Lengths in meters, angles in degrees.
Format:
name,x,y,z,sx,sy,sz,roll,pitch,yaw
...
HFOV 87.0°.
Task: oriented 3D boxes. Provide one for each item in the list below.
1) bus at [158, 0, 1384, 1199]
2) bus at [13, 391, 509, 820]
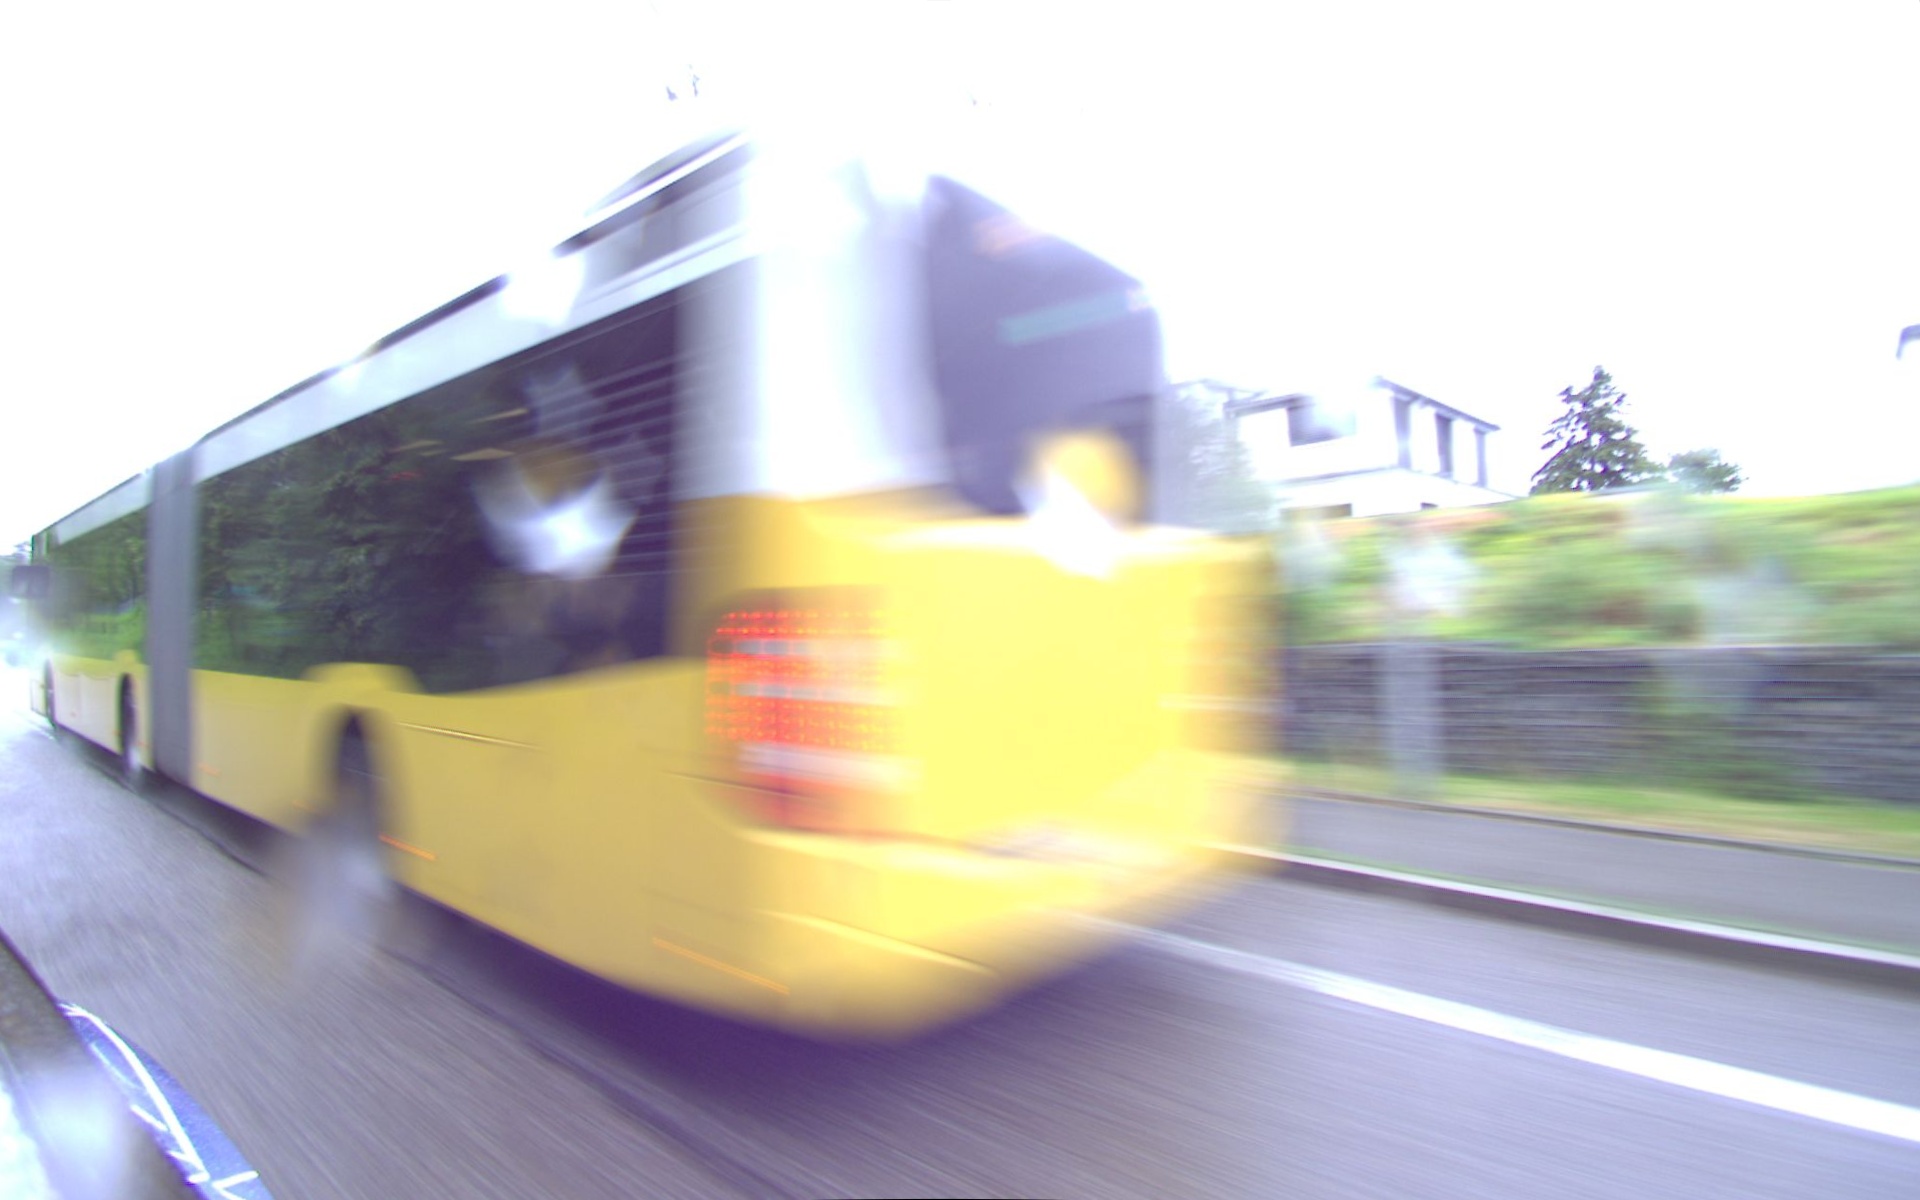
name,x,y,z,sx,sy,sz,roll,pitch,yaw
bus,-2.031,-0.031,5.640,7.664,3.055,2.612,-1,-1,42
bus,-8.944,0.216,11.976,10.855,3.091,2.611,-3,-2,43
